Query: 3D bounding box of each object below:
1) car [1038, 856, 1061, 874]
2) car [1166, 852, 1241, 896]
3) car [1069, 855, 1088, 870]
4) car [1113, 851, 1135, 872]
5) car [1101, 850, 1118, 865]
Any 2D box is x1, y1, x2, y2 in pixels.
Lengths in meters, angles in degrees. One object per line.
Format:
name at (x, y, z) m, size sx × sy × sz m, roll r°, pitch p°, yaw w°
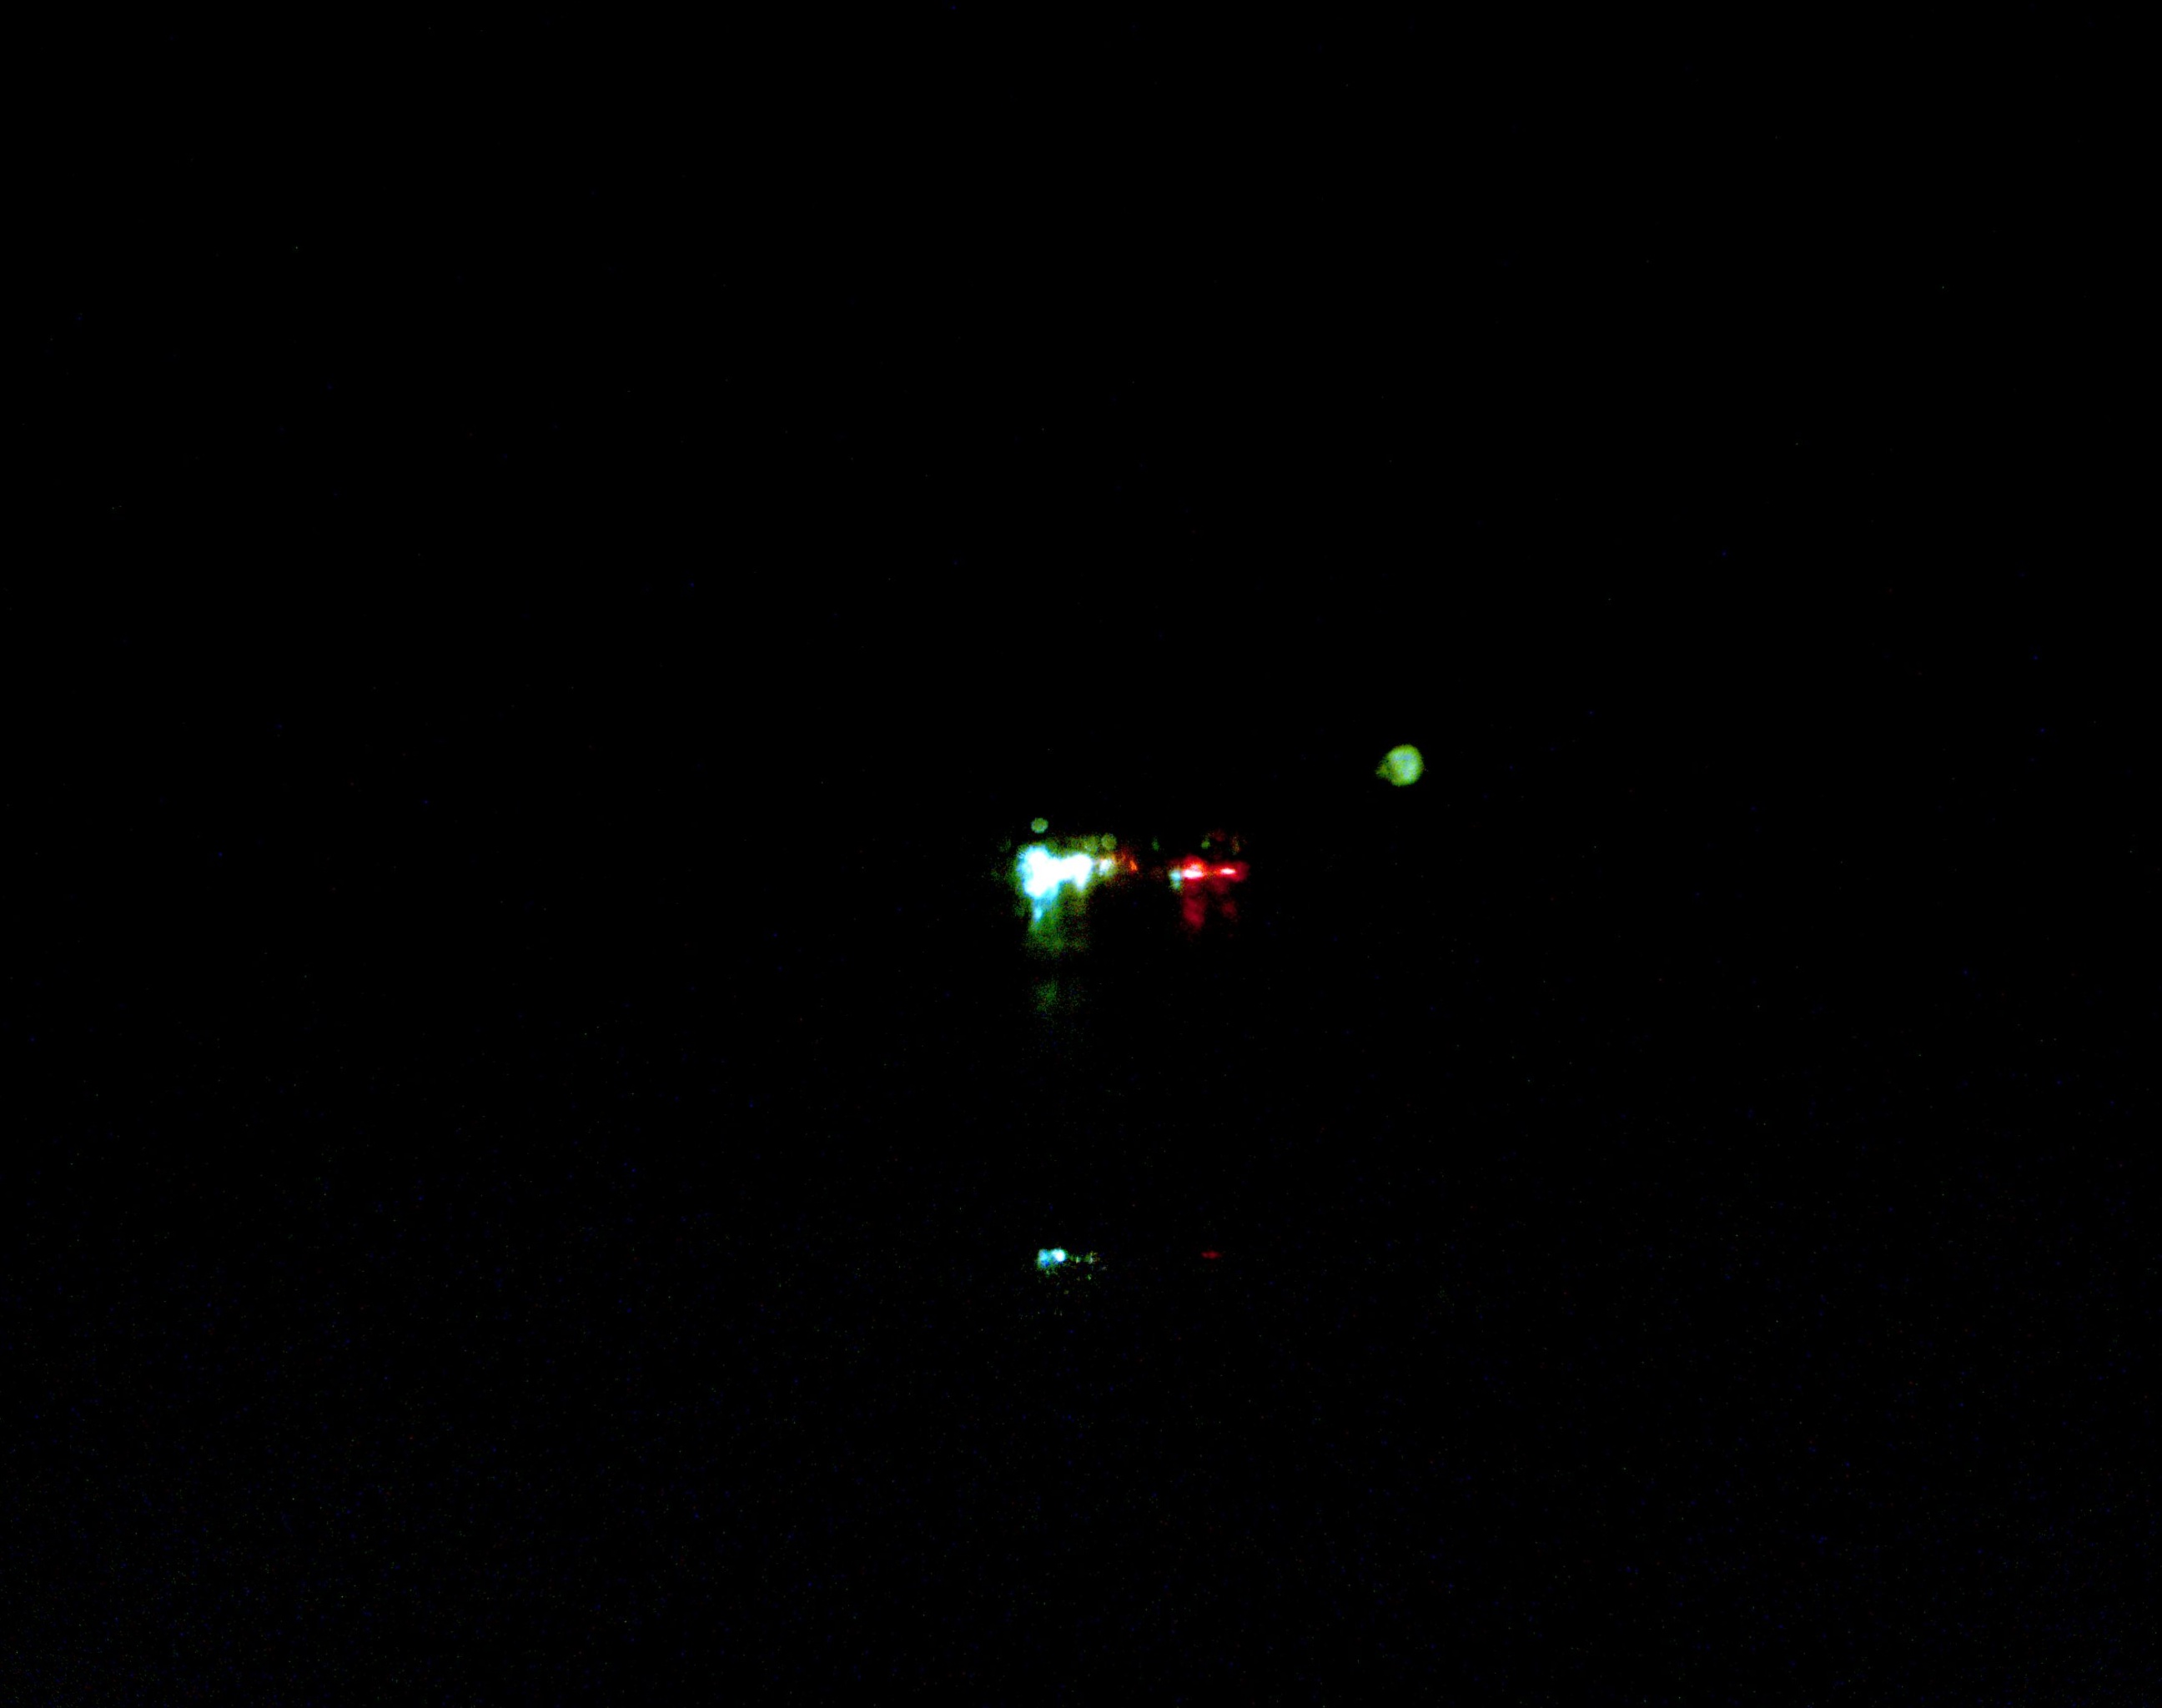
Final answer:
car at (-3.020, 1.030, 72.822) m, size 1.999 × 1.576 × 3.999 m, roll -3°, pitch 0°, yaw -1°
car at (4.508, 0.679, 28.652) m, size 1.999 × 1.410 × 4.665 m, roll -3°, pitch 0°, yaw 0°
car at (-0.284, 0.922, 85.942) m, size 1.999 × 1.576 × 4.000 m, roll -3°, pitch 0°, yaw 0°
car at (3.706, 0.642, 65.502) m, size 1.794 × 1.681 × 4.001 m, roll -3°, pitch 1°, yaw 4°
car at (3.457, 0.376, 91.641) m, size 1.904 × 1.635 × 3.791 m, roll -3°, pitch 1°, yaw 0°
